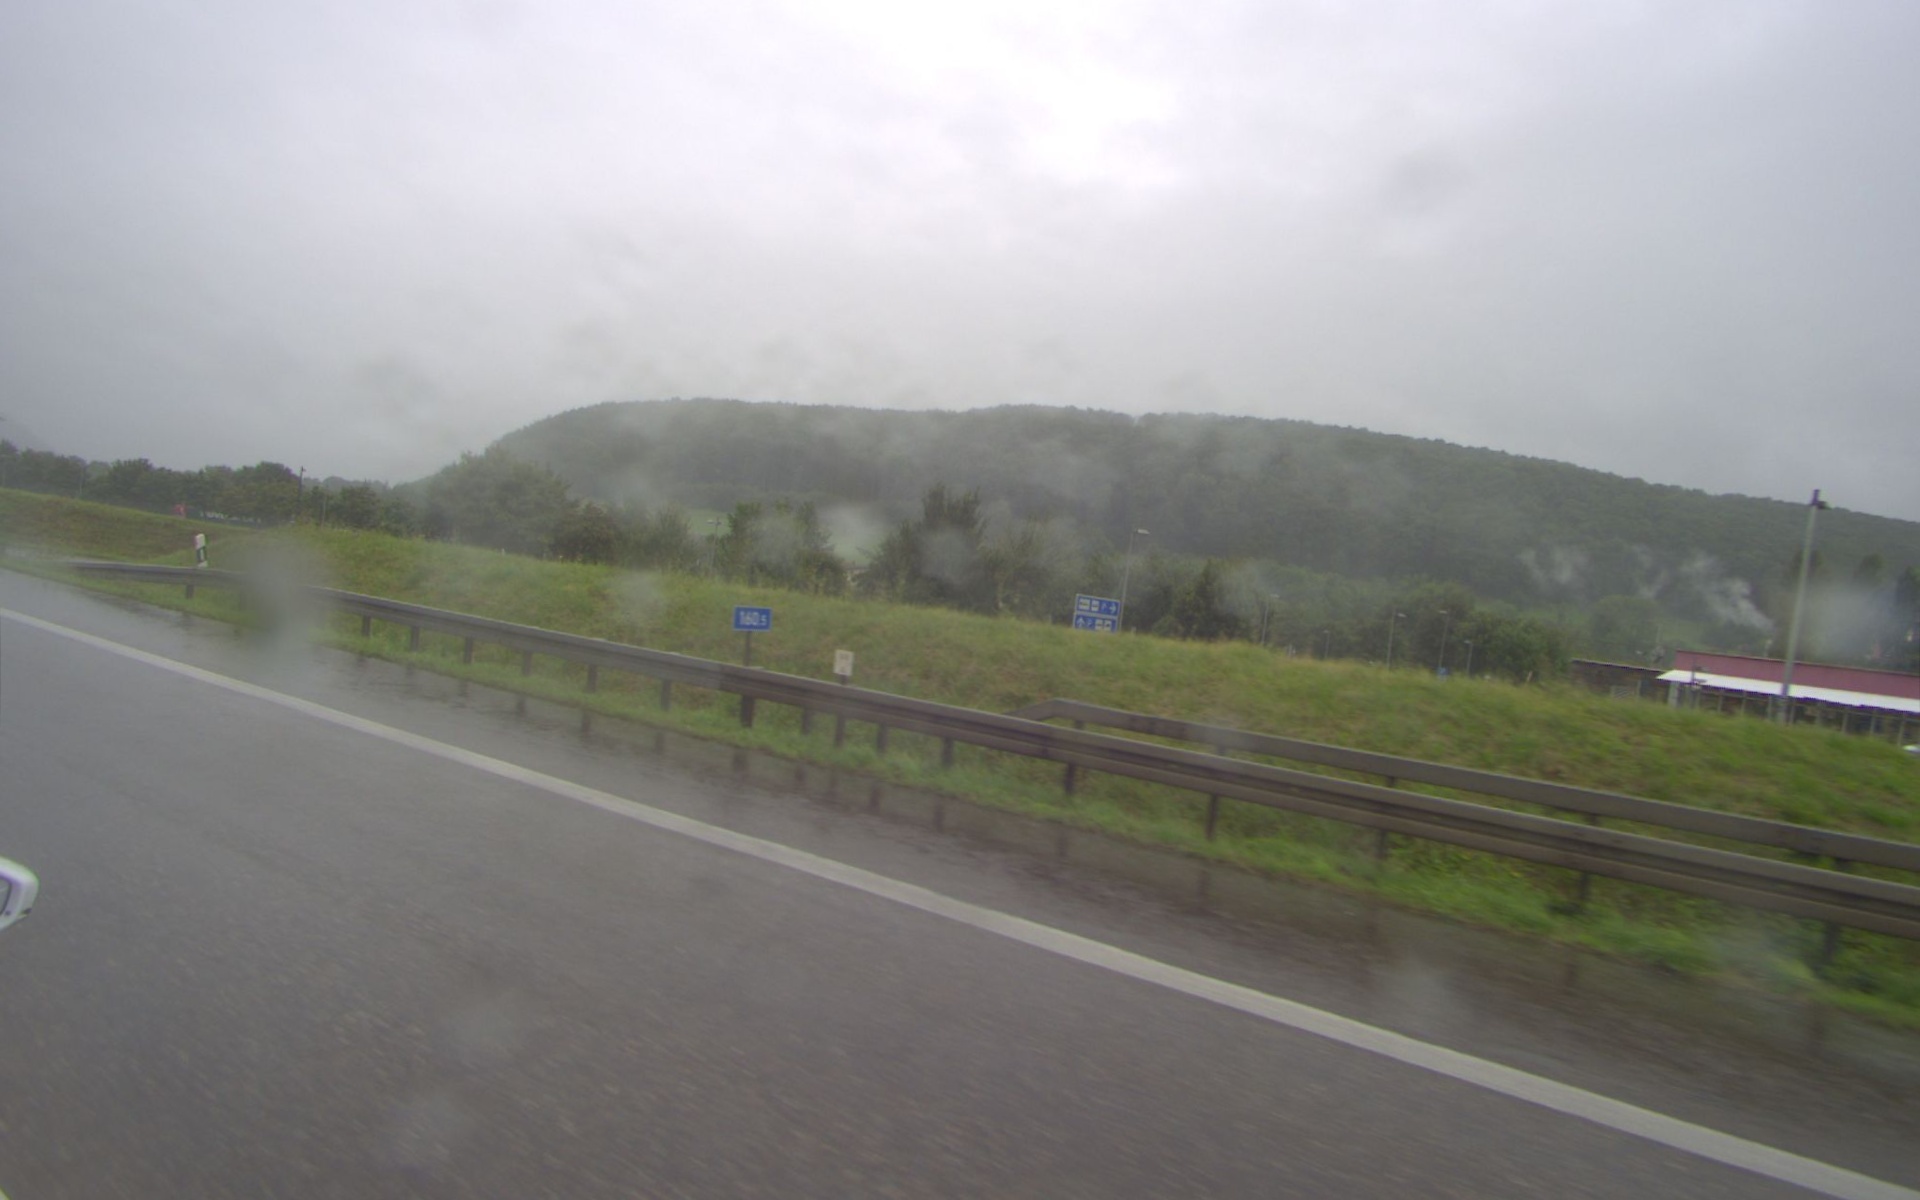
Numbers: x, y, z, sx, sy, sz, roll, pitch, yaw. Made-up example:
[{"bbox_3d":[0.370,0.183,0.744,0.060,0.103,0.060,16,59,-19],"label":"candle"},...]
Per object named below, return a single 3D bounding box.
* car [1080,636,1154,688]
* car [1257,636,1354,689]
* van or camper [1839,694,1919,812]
[{"bbox_3d":[9.500,3.710,61.594,2.373,2.612,6.717,8,-2,-7],"label":"car"},{"bbox_3d":[16.882,3.050,49.191,3.946,2.038,1.990,8,-1,-22],"label":"car"},{"bbox_3d":[29.298,4.723,29.013,6.062,3.094,2.000,8,-1,-3],"label":"van or camper"}]
